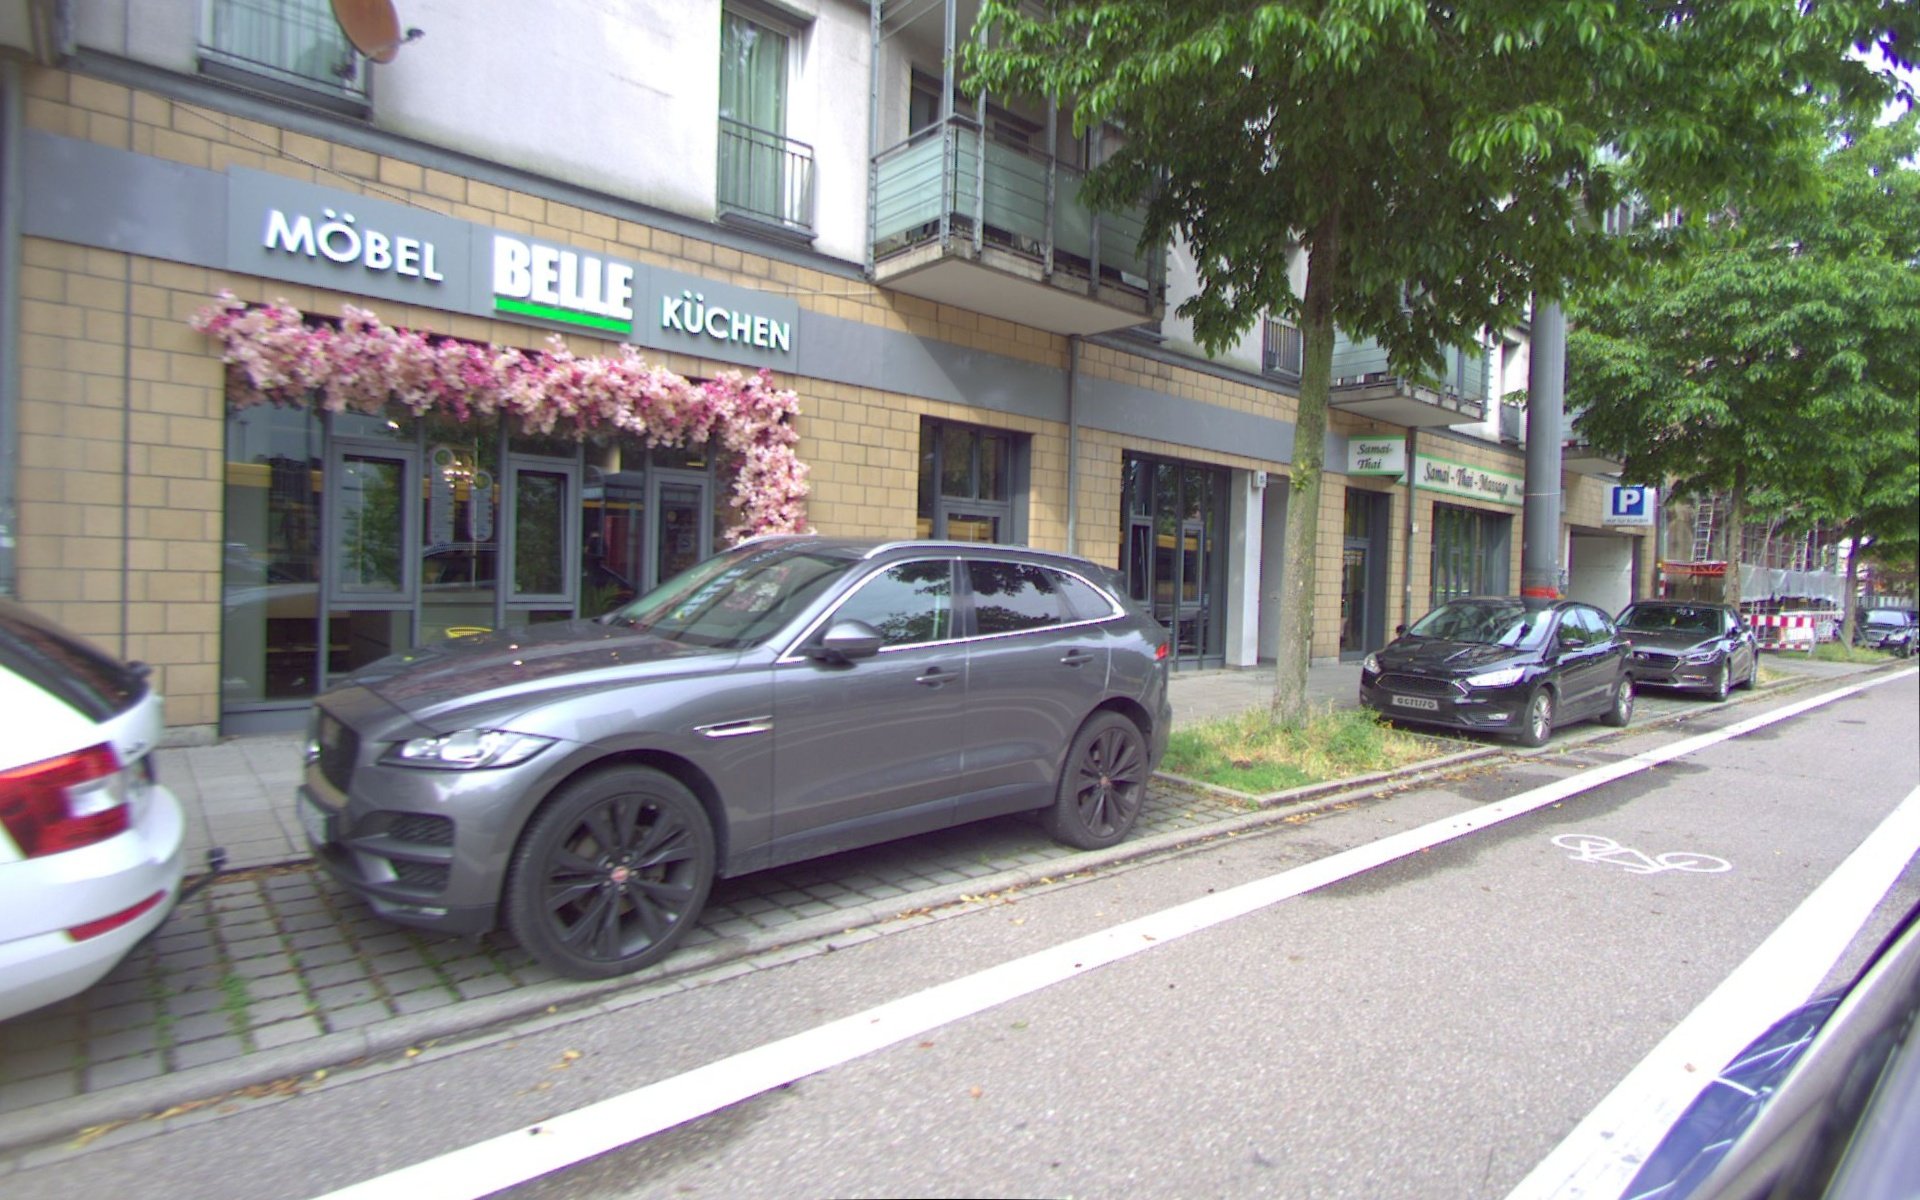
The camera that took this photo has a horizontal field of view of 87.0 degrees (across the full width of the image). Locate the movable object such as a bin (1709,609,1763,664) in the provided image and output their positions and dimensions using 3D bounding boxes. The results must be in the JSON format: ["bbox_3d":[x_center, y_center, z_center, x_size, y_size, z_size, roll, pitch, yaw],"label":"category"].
[{"bbox_3d":[16.256,0.755,21.213,0.531,1.067,0.763,0,2,-41],"label":"movable object such as a bin"}]

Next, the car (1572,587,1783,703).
[{"bbox_3d":[11.423,0.602,16.002,4.315,1.472,1.801,0,5,-43],"label":"car"}]

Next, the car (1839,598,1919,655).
[{"bbox_3d":[27.676,0.742,30.071,4.206,1.478,1.754,0,3,-42],"label":"car"}]

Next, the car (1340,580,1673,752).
[{"bbox_3d":[6.152,0.590,11.178,4.329,1.459,1.681,0,4,-40],"label":"car"}]

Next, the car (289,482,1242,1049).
[{"bbox_3d":[-0.595,0.440,5.277,4.631,1.737,1.715,0,4,-43],"label":"car"}]

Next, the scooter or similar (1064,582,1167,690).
[{"bbox_3d":[1.890,0.412,12.246,1.193,1.215,0.518,0,4,-41],"label":"scooter or similar"}]

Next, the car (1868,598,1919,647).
[{"bbox_3d":[31.894,0.739,33.845,4.206,1.478,1.754,0,3,-42],"label":"car"}]

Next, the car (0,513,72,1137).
[{"bbox_3d":[-4.485,0.506,1.785,4.311,1.516,1.681,0,4,-40],"label":"car"}]
